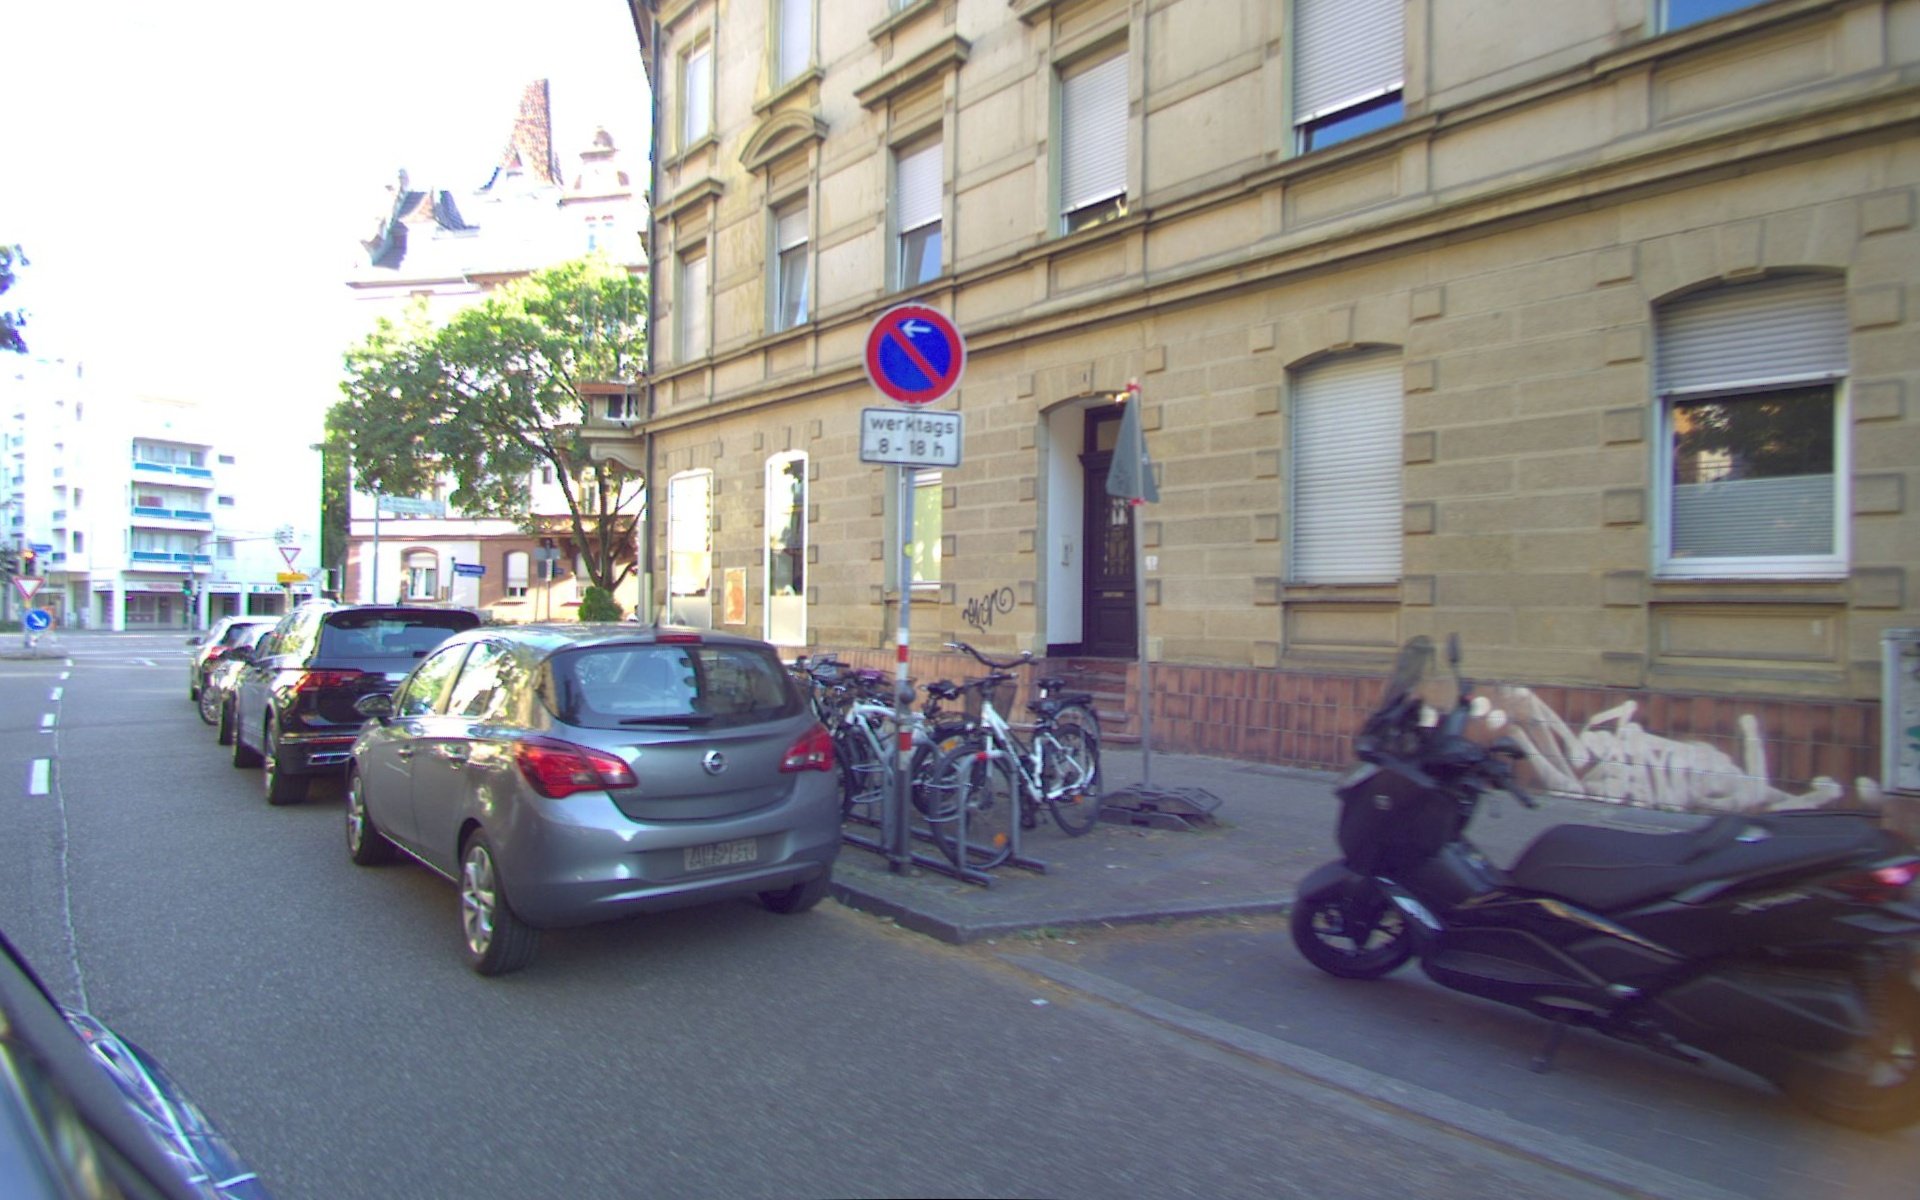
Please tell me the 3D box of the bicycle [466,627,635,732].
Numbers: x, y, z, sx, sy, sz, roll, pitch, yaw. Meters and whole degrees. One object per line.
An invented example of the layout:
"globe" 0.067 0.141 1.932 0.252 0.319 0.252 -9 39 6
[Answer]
"bicycle" -4.980 0.933 12.396 1.845 1.137 0.529 -1 0 -42

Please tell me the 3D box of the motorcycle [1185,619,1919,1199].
"motorcycle" 2.154 0.759 3.283 2.607 1.380 1.054 -1 -1 43

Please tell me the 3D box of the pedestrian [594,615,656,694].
"pedestrian" -5.601 0.895 16.920 0.757 1.268 0.717 -1 -1 43

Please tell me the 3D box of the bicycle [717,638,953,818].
"bicycle" -0.900 0.901 7.717 1.846 1.137 0.529 -1 0 -45

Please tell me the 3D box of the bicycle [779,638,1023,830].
"bicycle" -0.368 0.881 7.257 1.846 1.137 0.529 -1 0 -45

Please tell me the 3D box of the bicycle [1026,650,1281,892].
"bicycle" 1.210 0.916 6.020 1.846 1.137 0.529 -1 0 -45

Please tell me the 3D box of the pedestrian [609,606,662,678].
"pedestrian" -8.814 1.129 27.512 0.841 1.913 1.104 0 -1 35

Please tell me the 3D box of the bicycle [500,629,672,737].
"bicycle" -4.421 0.947 12.061 1.845 1.137 0.529 -1 0 -42

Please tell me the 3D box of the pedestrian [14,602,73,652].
"pedestrian" -31.754 0.937 35.078 0.999 1.692 1.167 0 -1 16

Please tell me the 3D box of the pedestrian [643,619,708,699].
"pedestrian" -4.522 0.922 16.094 0.757 1.223 0.717 -1 -1 43

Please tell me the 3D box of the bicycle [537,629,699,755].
"bicycle" -3.557 0.911 10.692 0.525 1.137 1.859 -1 0 23

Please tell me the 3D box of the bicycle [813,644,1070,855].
"bicycle" -0.065 0.906 6.736 1.846 1.137 0.529 -1 0 -45

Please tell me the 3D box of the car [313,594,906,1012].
"car" -2.265 0.794 5.780 1.737 1.512 4.064 2 -2 -42

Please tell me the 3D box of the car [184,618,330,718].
"car" -12.207 1.080 17.469 1.736 1.499 4.146 2 -2 -39

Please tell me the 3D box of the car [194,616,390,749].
"car" -9.086 0.968 13.581 1.736 1.463 4.559 2 -2 -39

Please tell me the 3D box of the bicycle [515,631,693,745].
"bicycle" -4.010 0.954 11.516 1.845 1.137 0.529 -1 0 -42

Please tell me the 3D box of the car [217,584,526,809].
"car" -5.737 0.755 9.572 1.736 1.612 4.557 2 -2 -40

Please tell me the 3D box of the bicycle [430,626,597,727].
"bicycle" -5.590 0.922 12.742 1.845 1.137 0.529 -1 0 -42

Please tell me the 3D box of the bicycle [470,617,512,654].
"bicycle" -16.045 1.180 34.562 0.539 1.205 2.963 1 -1 -40

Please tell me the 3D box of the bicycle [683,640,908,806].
"bicycle" -1.292 0.936 8.277 1.846 1.137 0.529 -1 0 -45

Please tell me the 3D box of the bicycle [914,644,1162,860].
"bicycle" 0.565 0.902 6.599 1.846 1.137 0.529 -1 0 -45
